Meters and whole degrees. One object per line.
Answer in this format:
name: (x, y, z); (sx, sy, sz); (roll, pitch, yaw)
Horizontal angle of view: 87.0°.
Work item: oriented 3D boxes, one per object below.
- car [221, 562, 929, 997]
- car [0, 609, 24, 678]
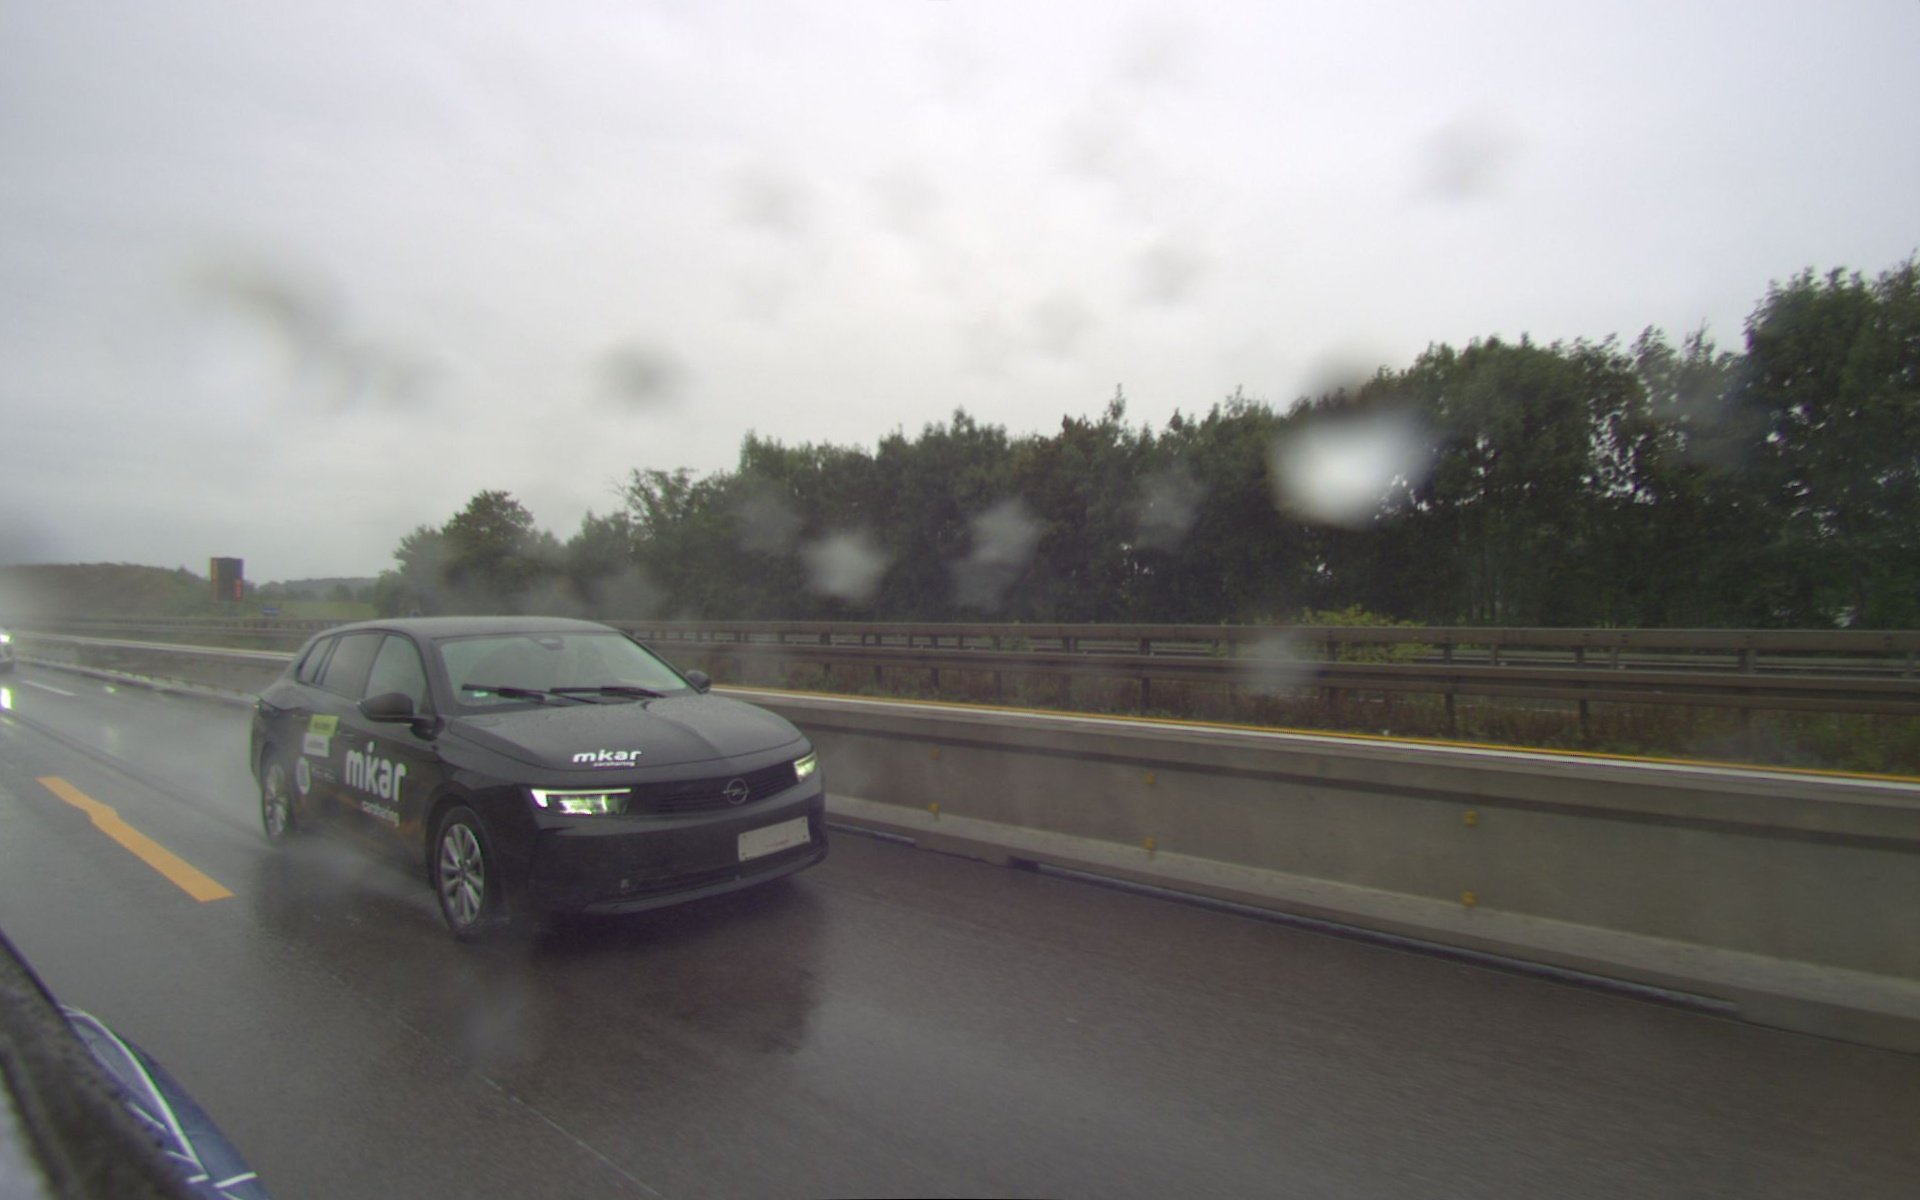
car: (-2.567, 0.666, 5.915); (4.795, 1.539, 1.918); (-1, -1, 42)
car: (-25.781, 1.091, 26.008); (3.995, 1.693, 1.948); (1, 0, 38)
